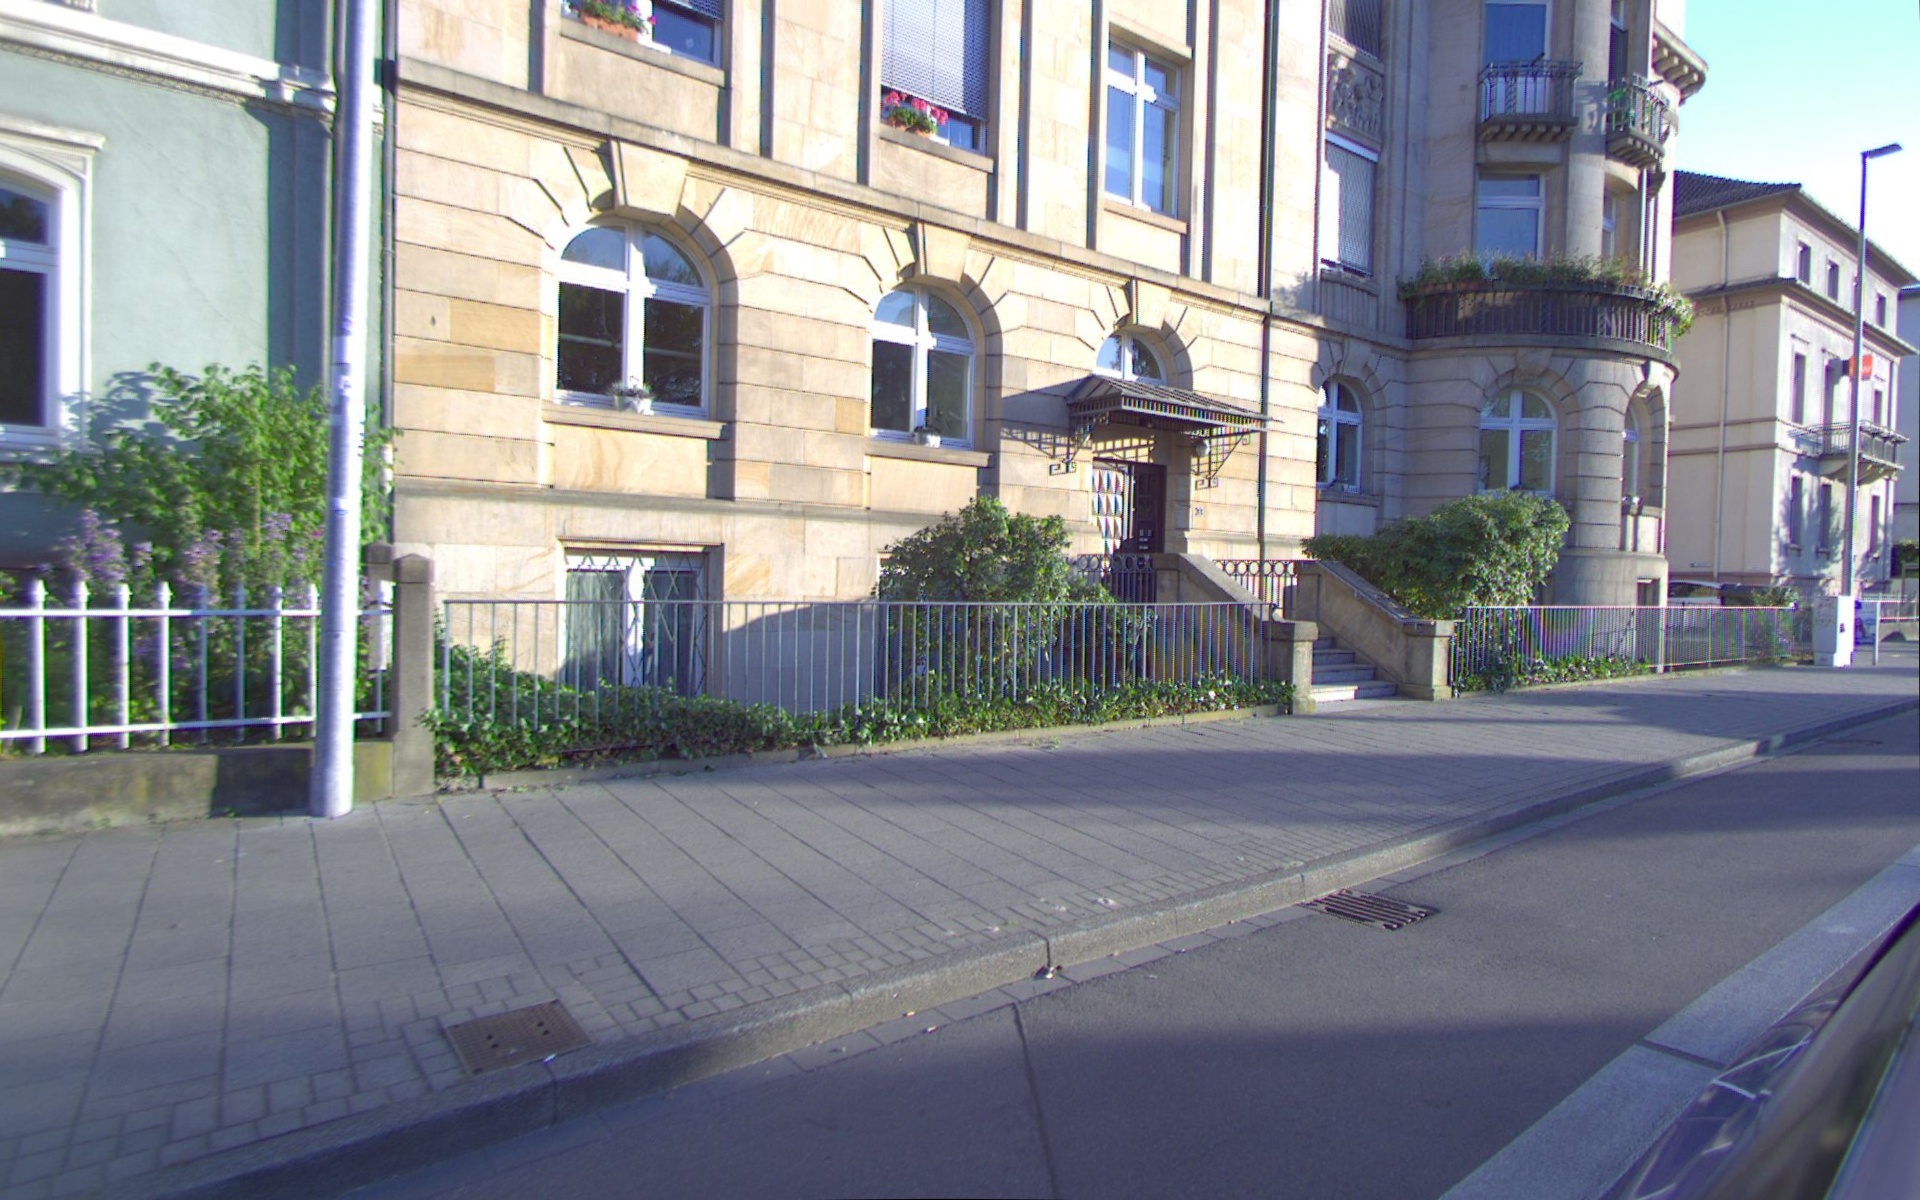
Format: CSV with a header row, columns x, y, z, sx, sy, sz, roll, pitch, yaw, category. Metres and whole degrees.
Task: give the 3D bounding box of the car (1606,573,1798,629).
x,y,z,sx,sy,sz,roll,pitch,yaw,category
21.414,-0.015,29.348,1.901,1.500,4.101,0,1,-35,car
